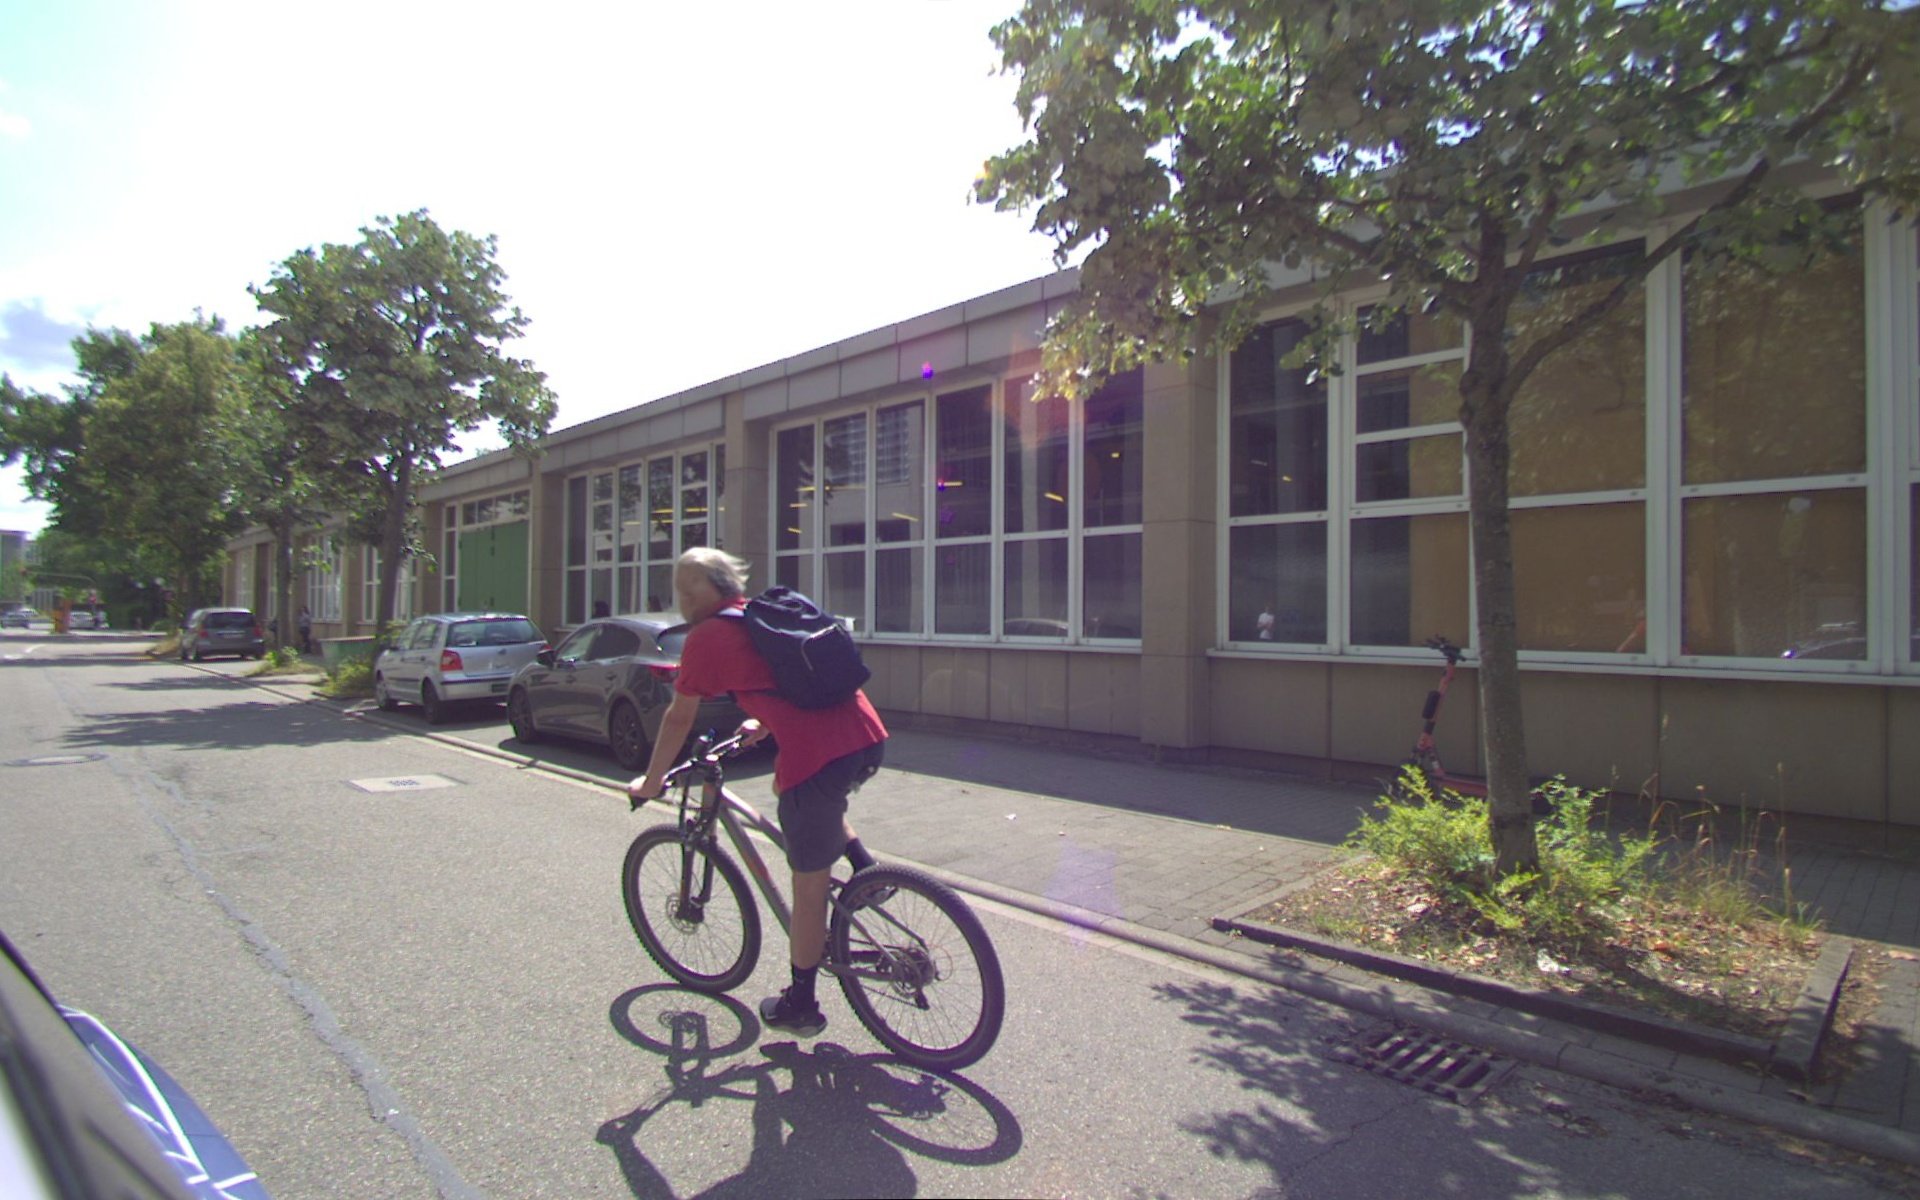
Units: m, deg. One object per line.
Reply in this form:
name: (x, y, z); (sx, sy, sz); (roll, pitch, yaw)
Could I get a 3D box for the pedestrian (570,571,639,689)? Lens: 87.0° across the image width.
pedestrian: (-5.362, 0.447, 15.279); (0.793, 1.741, 0.596); (-1, -2, 26)

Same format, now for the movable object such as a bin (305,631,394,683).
movable object such as a bin: (-12.983, 1.184, 21.513); (1.276, 0.992, 1.697); (-1, -1, -43)

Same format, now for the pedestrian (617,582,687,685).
pedestrian: (-4.755, 0.510, 15.627); (0.793, 1.553, 0.658); (-1, -2, 26)

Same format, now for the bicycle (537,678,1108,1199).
bicycle: (-0.562, 0.900, 3.369); (1.931, 1.049, 0.807); (4, 2, 43)

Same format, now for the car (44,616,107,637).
car: (-71.124, 2.112, 81.405); (1.805, 1.460, 3.623); (-1, 1, 44)

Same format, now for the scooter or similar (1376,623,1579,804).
scooter or similar: (3.783, 0.794, 7.459); (0.378, 1.216, 1.247); (-1, -1, -45)

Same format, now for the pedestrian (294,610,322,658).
pedestrian: (-22.001, 1.136, 34.140); (0.551, 1.593, 0.597); (-2, -5, 44)

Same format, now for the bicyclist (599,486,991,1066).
bicyclist: (-0.545, 0.490, 3.363); (0.959, 1.555, 0.826); (-1, -3, 42)

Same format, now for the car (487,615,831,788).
car: (-3.388, 0.937, 10.842); (1.705, 1.446, 4.292); (-1, -1, -44)

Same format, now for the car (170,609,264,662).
car: (-22.735, 1.056, 30.911); (1.778, 1.460, 3.679); (-2, 1, -45)

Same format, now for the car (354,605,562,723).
car: (-7.434, 0.845, 14.824); (1.611, 1.460, 3.755); (-2, 1, -44)

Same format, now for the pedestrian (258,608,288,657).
pedestrian: (-22.726, 1.094, 33.502); (0.595, 1.593, 0.552); (2, -3, -13)

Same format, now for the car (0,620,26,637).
car: (-87.631, 2.639, 93.571); (1.778, 1.460, 3.679); (-2, 1, -44)
